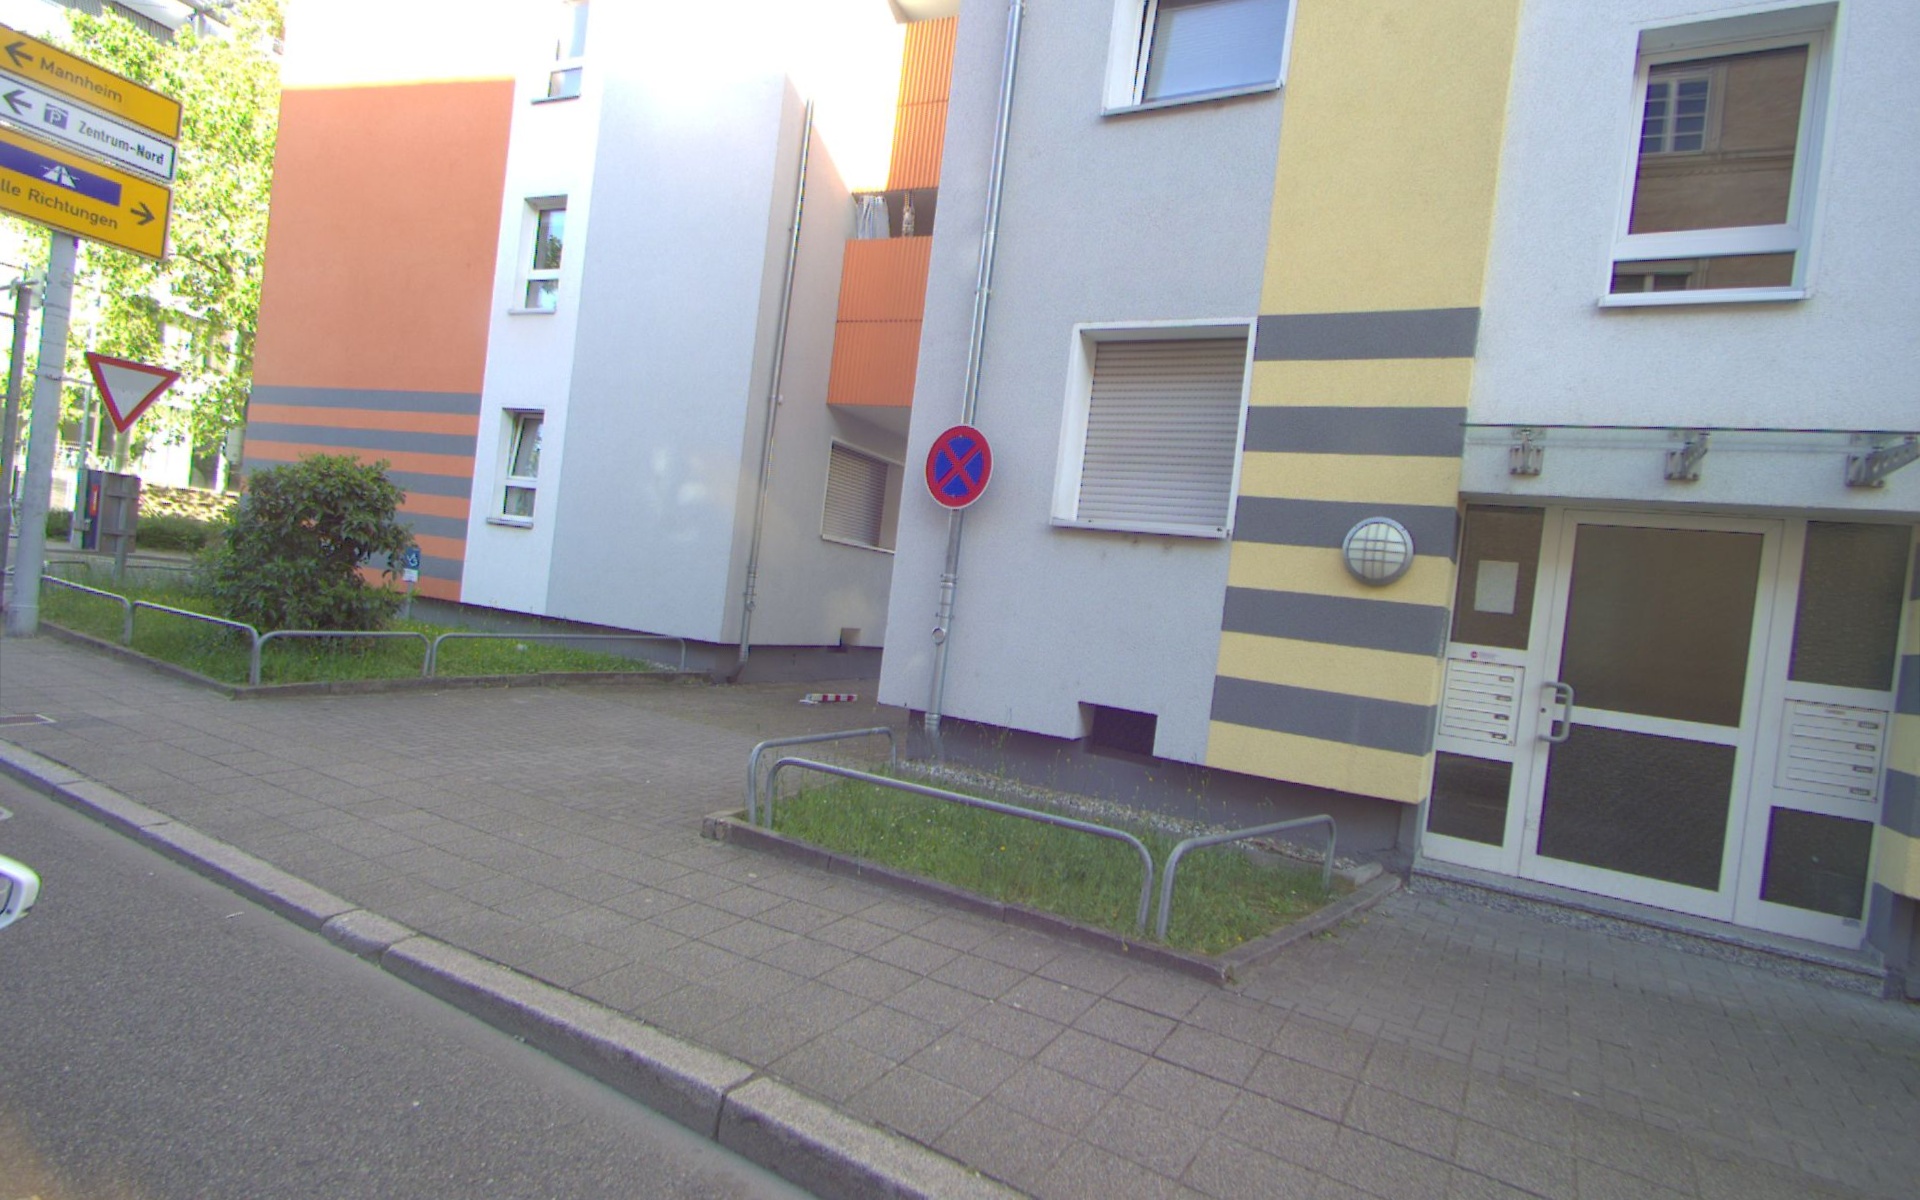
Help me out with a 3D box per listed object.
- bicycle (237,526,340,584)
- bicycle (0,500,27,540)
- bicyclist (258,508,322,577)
[{"bbox_3d":[-16.631,-1.094,24.956,0.583,1.166,1.963,7,0,37],"label":"bicycle"},{"bbox_3d":[-26.391,-2.243,27.386,1.409,1.021,0.379,7,1,-11],"label":"bicycle"},{"bbox_3d":[-16.604,-1.413,24.948,0.583,1.546,1.075,7,1,37],"label":"bicyclist"}]
